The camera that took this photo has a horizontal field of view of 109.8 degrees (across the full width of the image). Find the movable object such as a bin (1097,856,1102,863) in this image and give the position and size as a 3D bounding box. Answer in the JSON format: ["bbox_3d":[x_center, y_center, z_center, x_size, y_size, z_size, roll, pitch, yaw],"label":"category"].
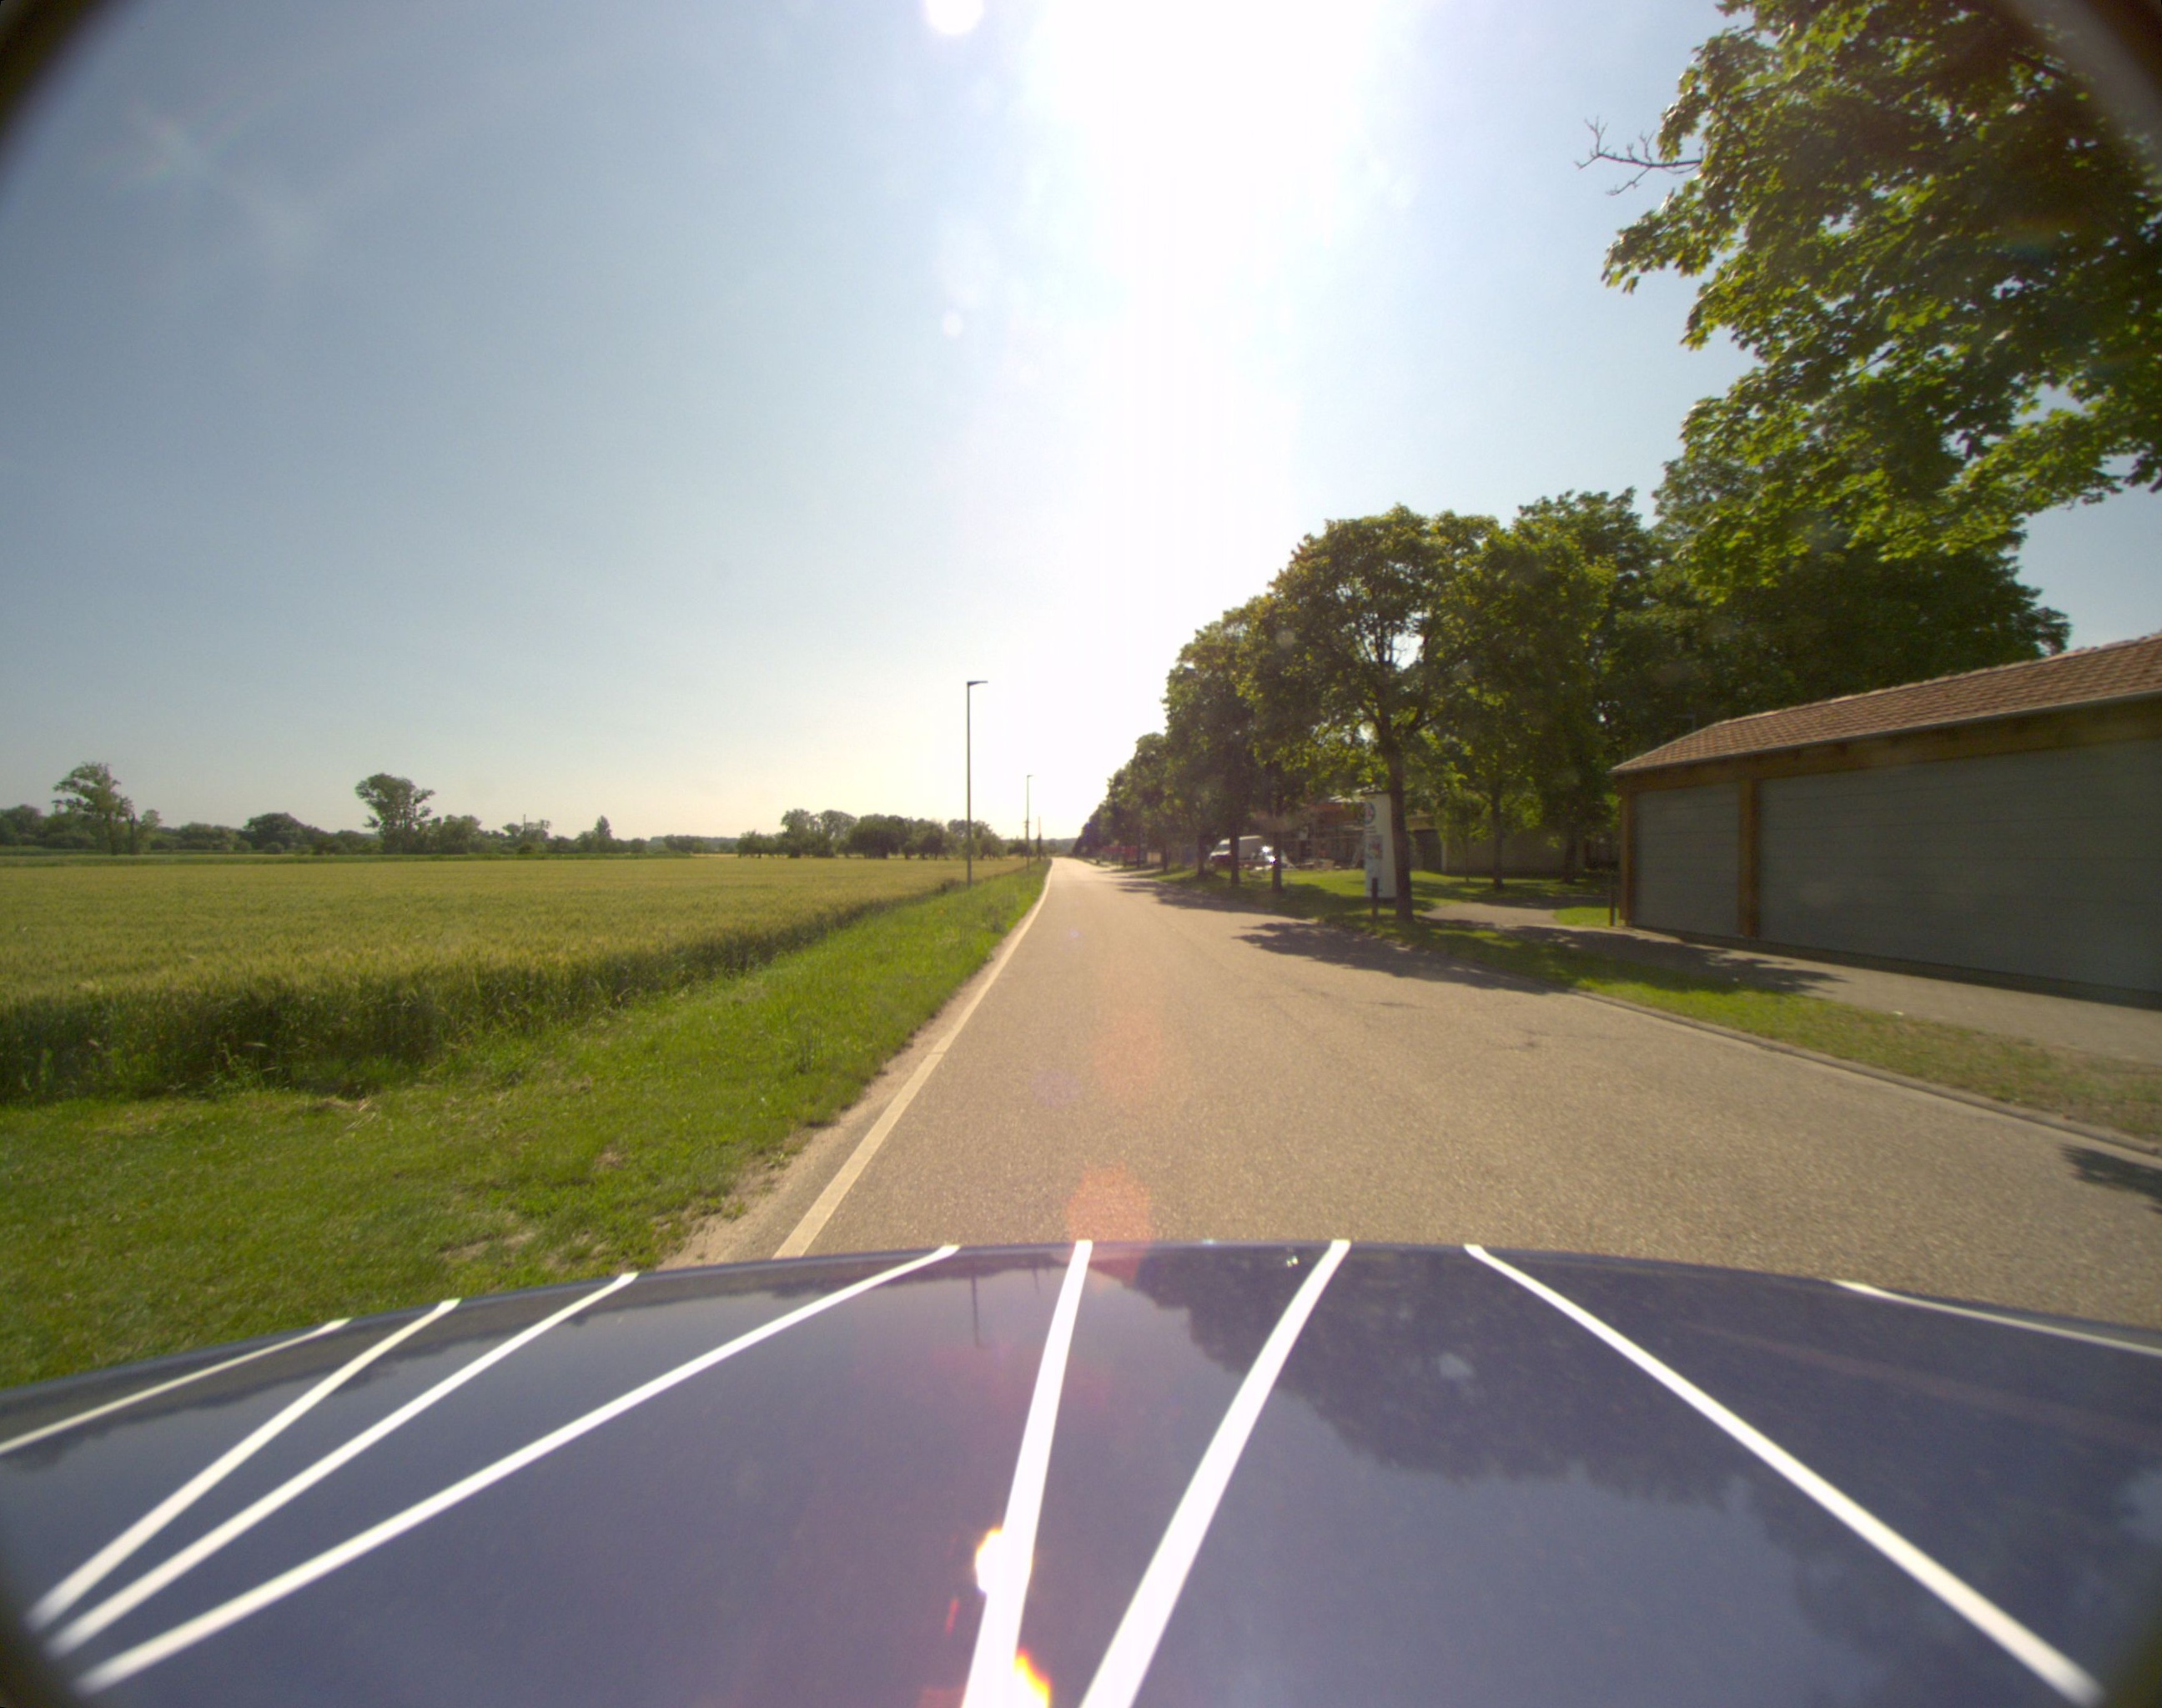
[{"bbox_3d":[2.627,0.761,107.637,0.700,1.018,0.748,0,1,6],"label":"movable object such as a bin"}]

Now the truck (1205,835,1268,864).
[{"bbox_3d":[13.661,-0.437,66.504,5.943,2.469,1.994,-1,1,-38],"label":"truck"}]

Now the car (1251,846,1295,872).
[{"bbox_3d":[13.855,0.335,55.124,1.976,1.827,4.327,-1,0,-2],"label":"car"}]
